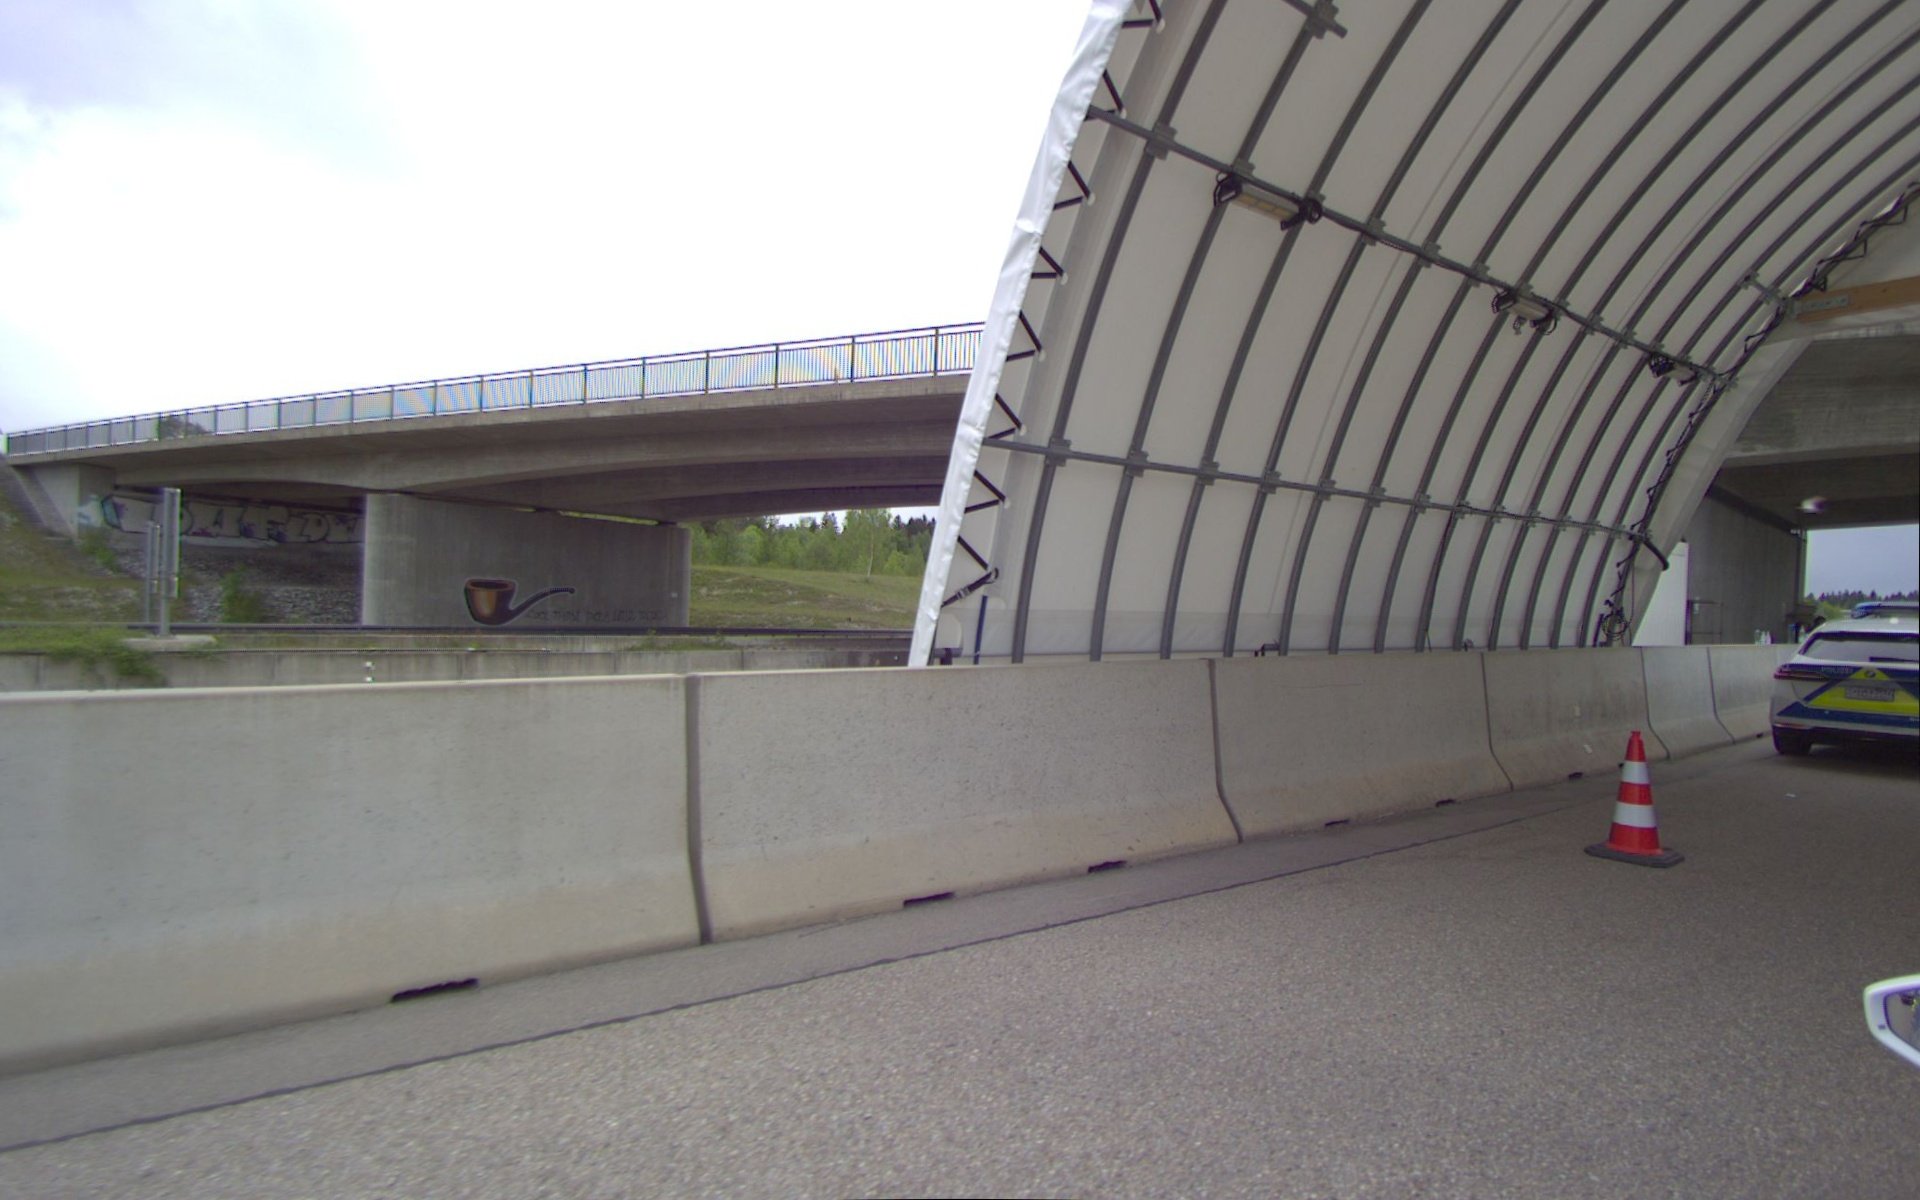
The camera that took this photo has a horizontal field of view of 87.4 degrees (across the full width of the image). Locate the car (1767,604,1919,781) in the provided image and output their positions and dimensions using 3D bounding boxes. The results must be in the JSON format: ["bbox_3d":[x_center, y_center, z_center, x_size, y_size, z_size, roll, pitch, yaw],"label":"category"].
[{"bbox_3d":[10.466,0.927,10.909,3.966,1.668,1.863,2,-2,-39],"label":"car"}]

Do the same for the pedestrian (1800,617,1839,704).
[{"bbox_3d":[20.629,1.444,24.100,0.651,2.040,0.619,2,-1,-40],"label":"pedestrian"}]

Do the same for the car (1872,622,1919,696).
[{"bbox_3d":[27.504,1.611,26.551,1.811,2.040,4.805,1,-1,-16],"label":"car"}]
